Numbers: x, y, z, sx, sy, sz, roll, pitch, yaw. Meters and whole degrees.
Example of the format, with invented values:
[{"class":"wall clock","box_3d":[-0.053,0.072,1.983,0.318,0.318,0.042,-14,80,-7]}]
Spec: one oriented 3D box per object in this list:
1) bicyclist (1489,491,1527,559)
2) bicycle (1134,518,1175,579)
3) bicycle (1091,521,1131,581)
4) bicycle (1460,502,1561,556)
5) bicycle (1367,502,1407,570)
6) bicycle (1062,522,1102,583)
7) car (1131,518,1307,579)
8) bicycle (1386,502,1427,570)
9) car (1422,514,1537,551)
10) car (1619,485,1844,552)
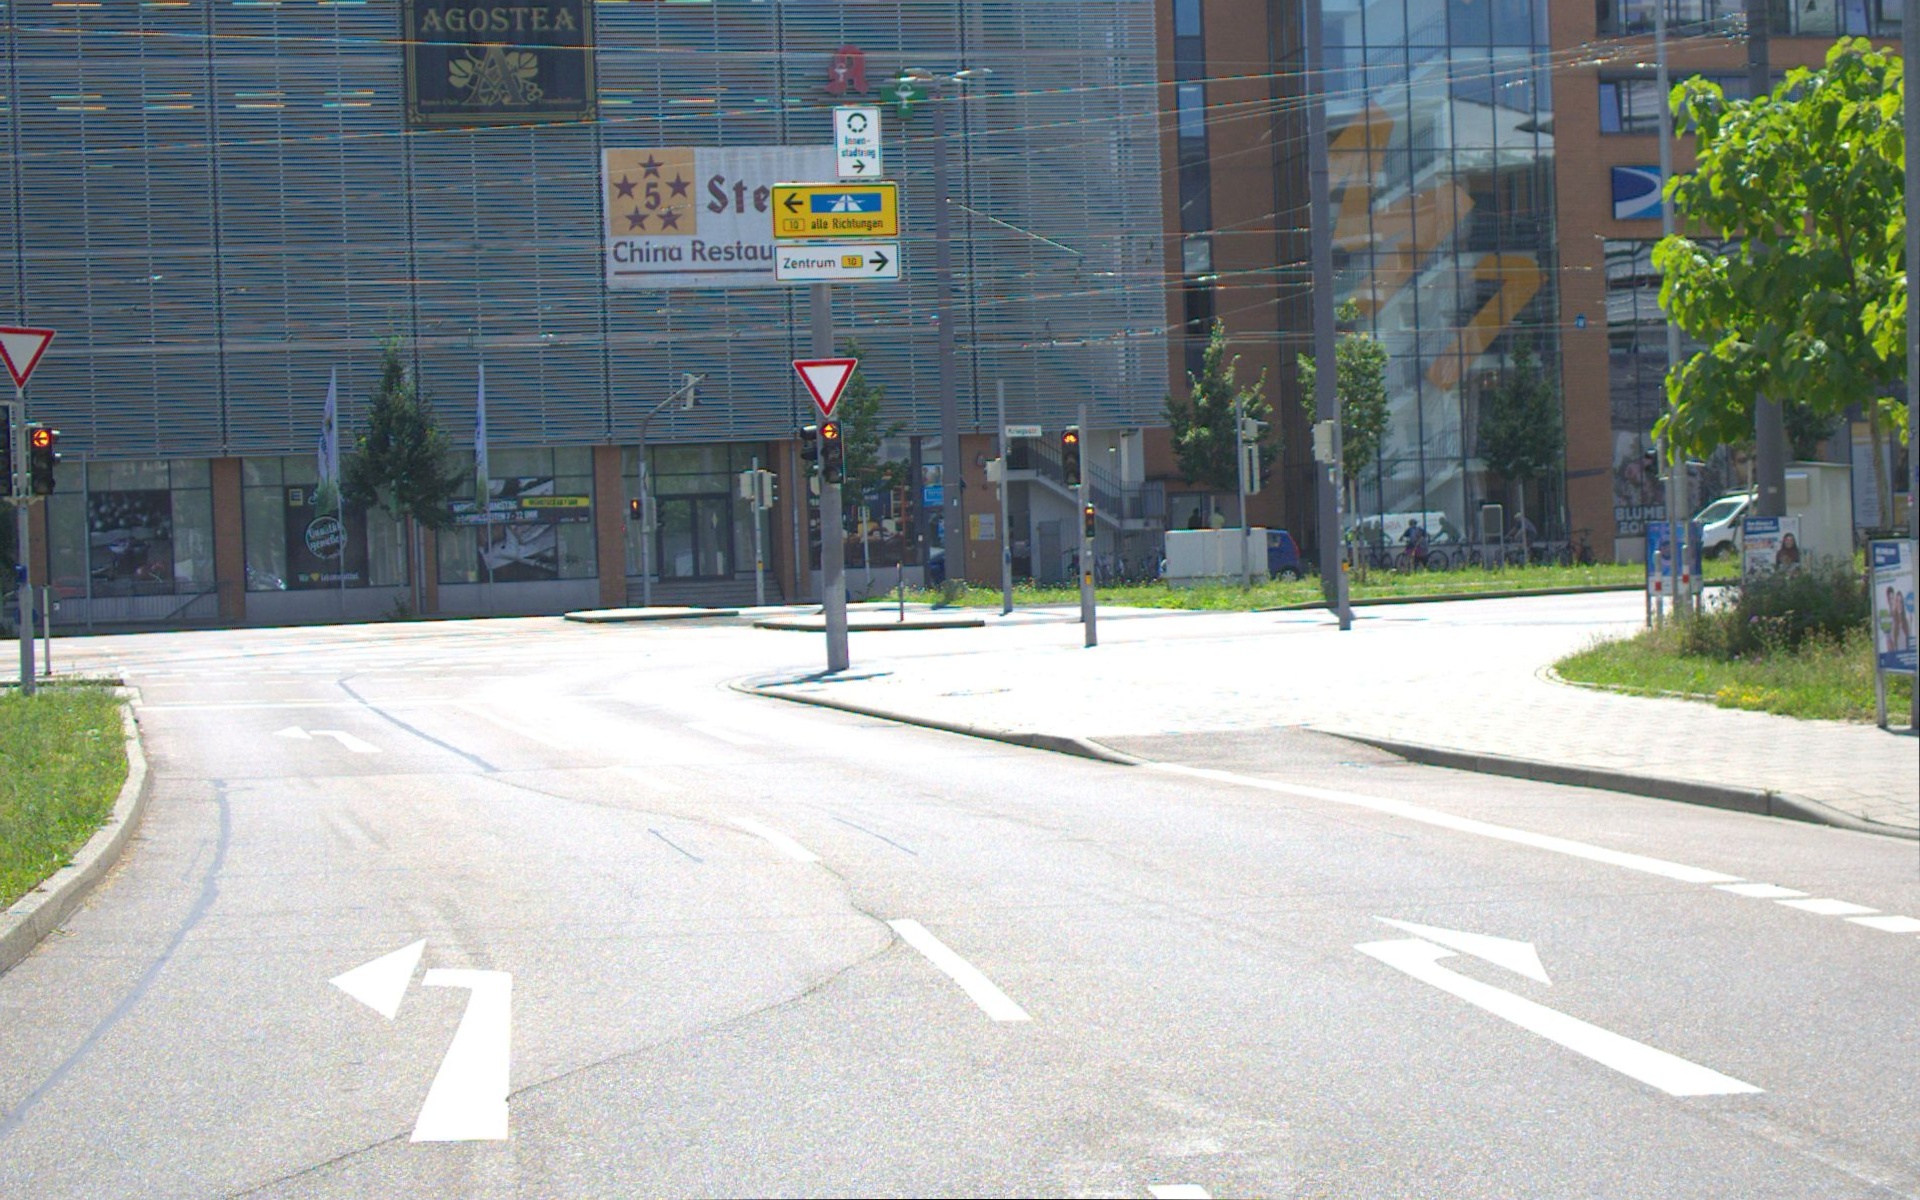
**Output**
[{"class":"bicyclist","box_3d":[16.264,-2.231,102.040,0.912,2.007,0.748,-1,1,-11]},{"class":"bicycle","box_3d":[5.615,-1.501,99.518,0.598,1.725,2.261,-1,1,-11]},{"class":"bicycle","box_3d":[4.368,-1.437,99.716,0.598,1.725,2.261,-1,1,-11]},{"class":"bicycle","box_3d":[16.345,-2.104,102.100,2.848,1.552,0.705,-1,1,-10]},{"class":"bicycle","box_3d":[12.737,-1.916,102.614,0.484,2.007,2.347,-1,1,-11]},{"class":"bicycle","box_3d":[3.530,-1.382,99.572,0.598,1.725,2.261,-1,1,-11]},{"class":"car","box_3d":[6.380,-1.279,84.780,3.986,1.437,1.744,-1,1,-13]},{"class":"bicycle","box_3d":[13.326,-1.928,102.723,0.484,2.007,2.347,-1,1,-11]},{"class":"car","box_3d":[15.076,-1.966,99.836,2.992,1.032,1.350,-1,1,-15]},{"class":"car","box_3d":[20.227,-2.147,90.141,5.461,1.662,2.001,-1,1,-18]}]
